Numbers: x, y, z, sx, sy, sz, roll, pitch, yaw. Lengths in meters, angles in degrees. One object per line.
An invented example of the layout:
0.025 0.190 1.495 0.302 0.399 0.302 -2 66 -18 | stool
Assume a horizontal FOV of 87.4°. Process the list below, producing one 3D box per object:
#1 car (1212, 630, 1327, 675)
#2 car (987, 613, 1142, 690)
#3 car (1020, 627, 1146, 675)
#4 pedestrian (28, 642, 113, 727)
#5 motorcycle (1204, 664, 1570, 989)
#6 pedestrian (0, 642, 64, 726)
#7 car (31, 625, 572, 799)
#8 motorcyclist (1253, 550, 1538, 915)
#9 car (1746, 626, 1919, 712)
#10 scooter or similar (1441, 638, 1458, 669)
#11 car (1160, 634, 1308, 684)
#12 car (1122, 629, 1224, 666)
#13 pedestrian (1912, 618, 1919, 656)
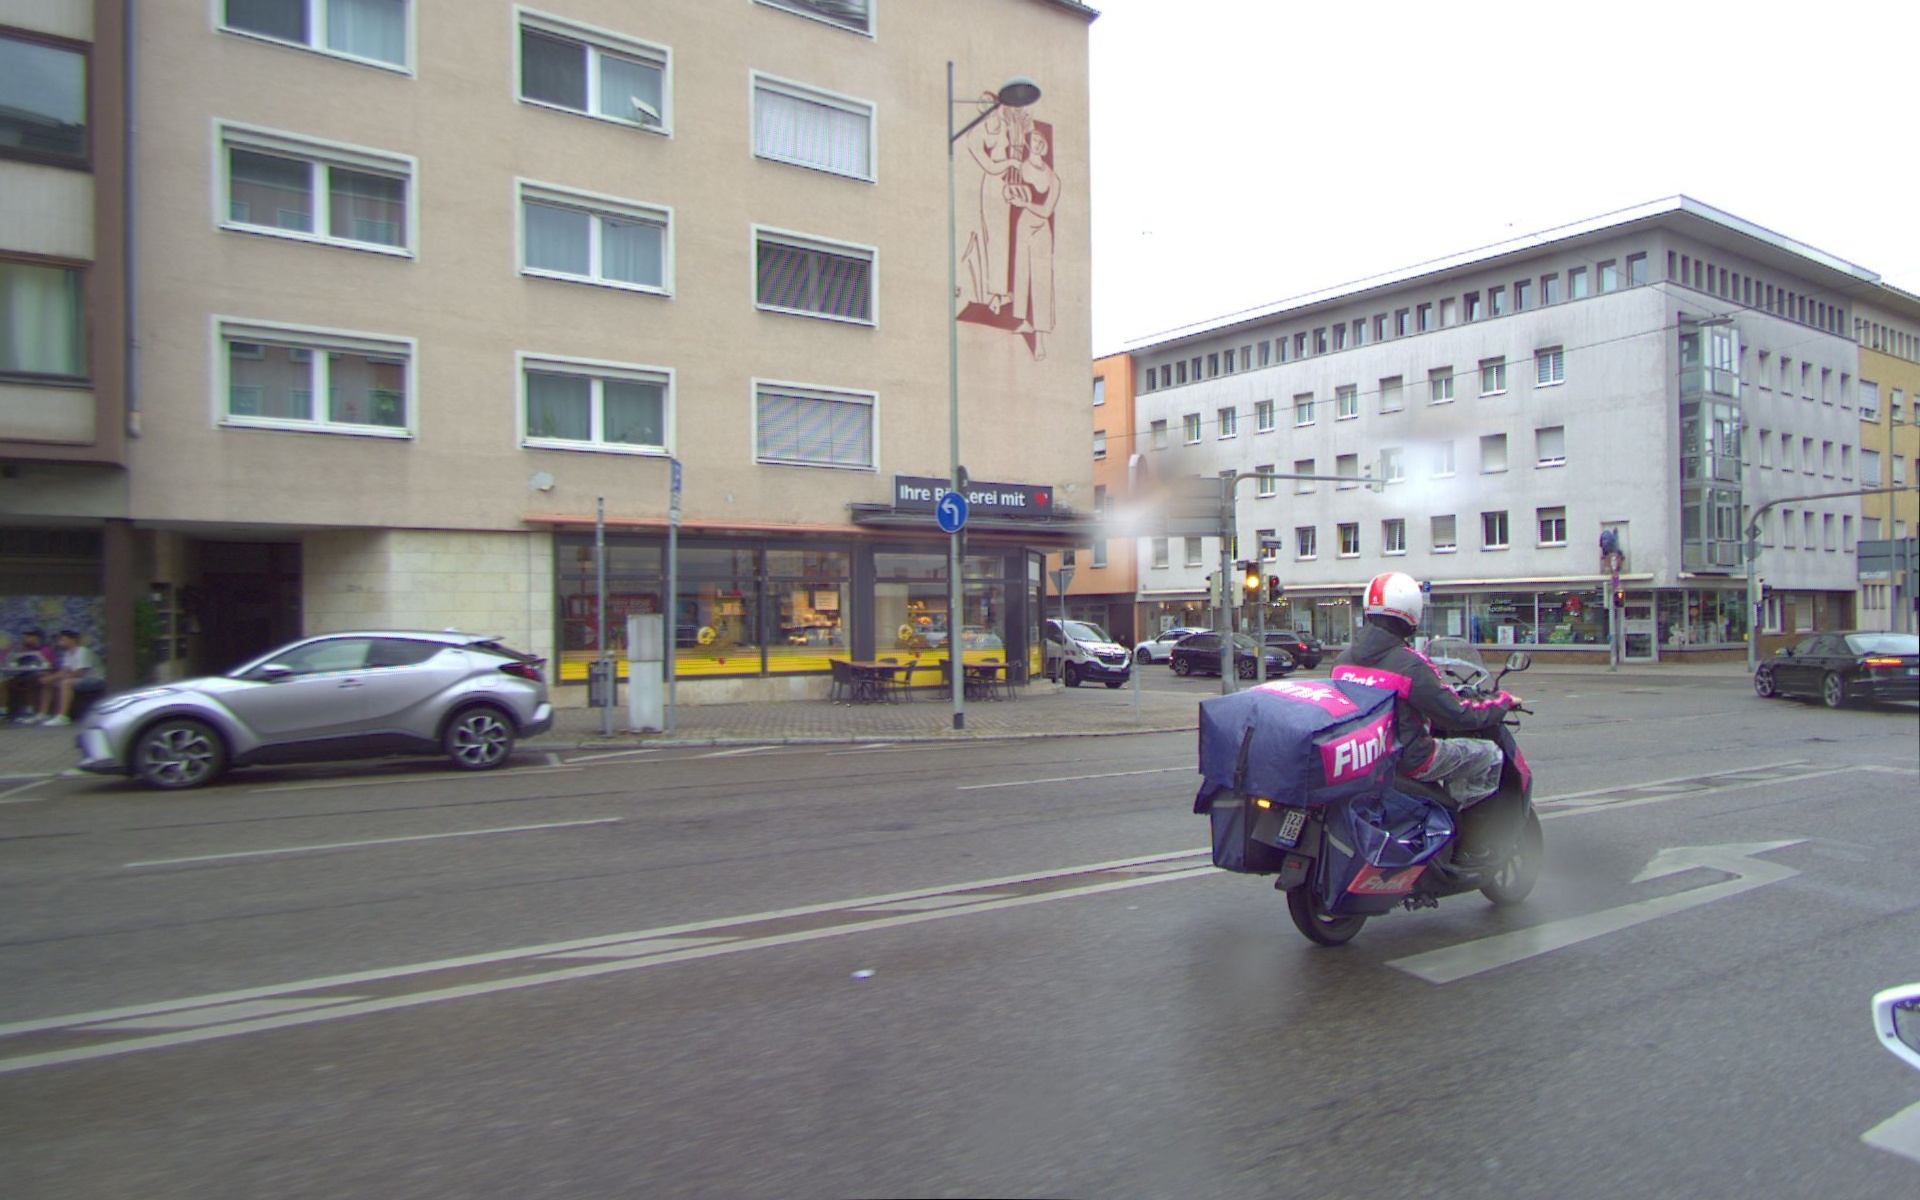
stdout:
11.900 2.006 38.798 1.685 1.648 3.952 2 -3 -41 | car
3.036 1.529 30.244 2.025 2.130 4.822 3 -3 -34 | car
4.562 1.867 37.749 2.028 1.611 4.605 -1 0 -38 | car
-12.654 1.194 14.310 0.583 1.163 0.674 0 -1 -2 | pedestrian
2.115 0.955 4.829 2.080 1.207 0.583 1 1 -35 | motorcycle
-13.393 1.191 14.431 0.624 1.163 0.605 1 -1 -29 | pedestrian
-6.803 1.101 11.023 4.572 1.574 1.901 1 -3 -28 | car
2.055 0.552 4.786 0.856 1.513 0.909 1 0 -34 | motorcyclist
17.244 1.250 19.360 1.961 1.406 4.499 -3 -2 21 | car
18.621 2.019 38.232 0.360 1.109 1.131 -3 0 36 | scooter or similar
8.828 1.866 32.660 2.028 1.394 4.294 -1 0 -38 | car
9.919 2.204 46.983 2.031 1.652 4.287 1 -2 -42 | car
40.658 1.558 42.244 0.644 1.602 0.683 0 1 -29 | pedestrian
